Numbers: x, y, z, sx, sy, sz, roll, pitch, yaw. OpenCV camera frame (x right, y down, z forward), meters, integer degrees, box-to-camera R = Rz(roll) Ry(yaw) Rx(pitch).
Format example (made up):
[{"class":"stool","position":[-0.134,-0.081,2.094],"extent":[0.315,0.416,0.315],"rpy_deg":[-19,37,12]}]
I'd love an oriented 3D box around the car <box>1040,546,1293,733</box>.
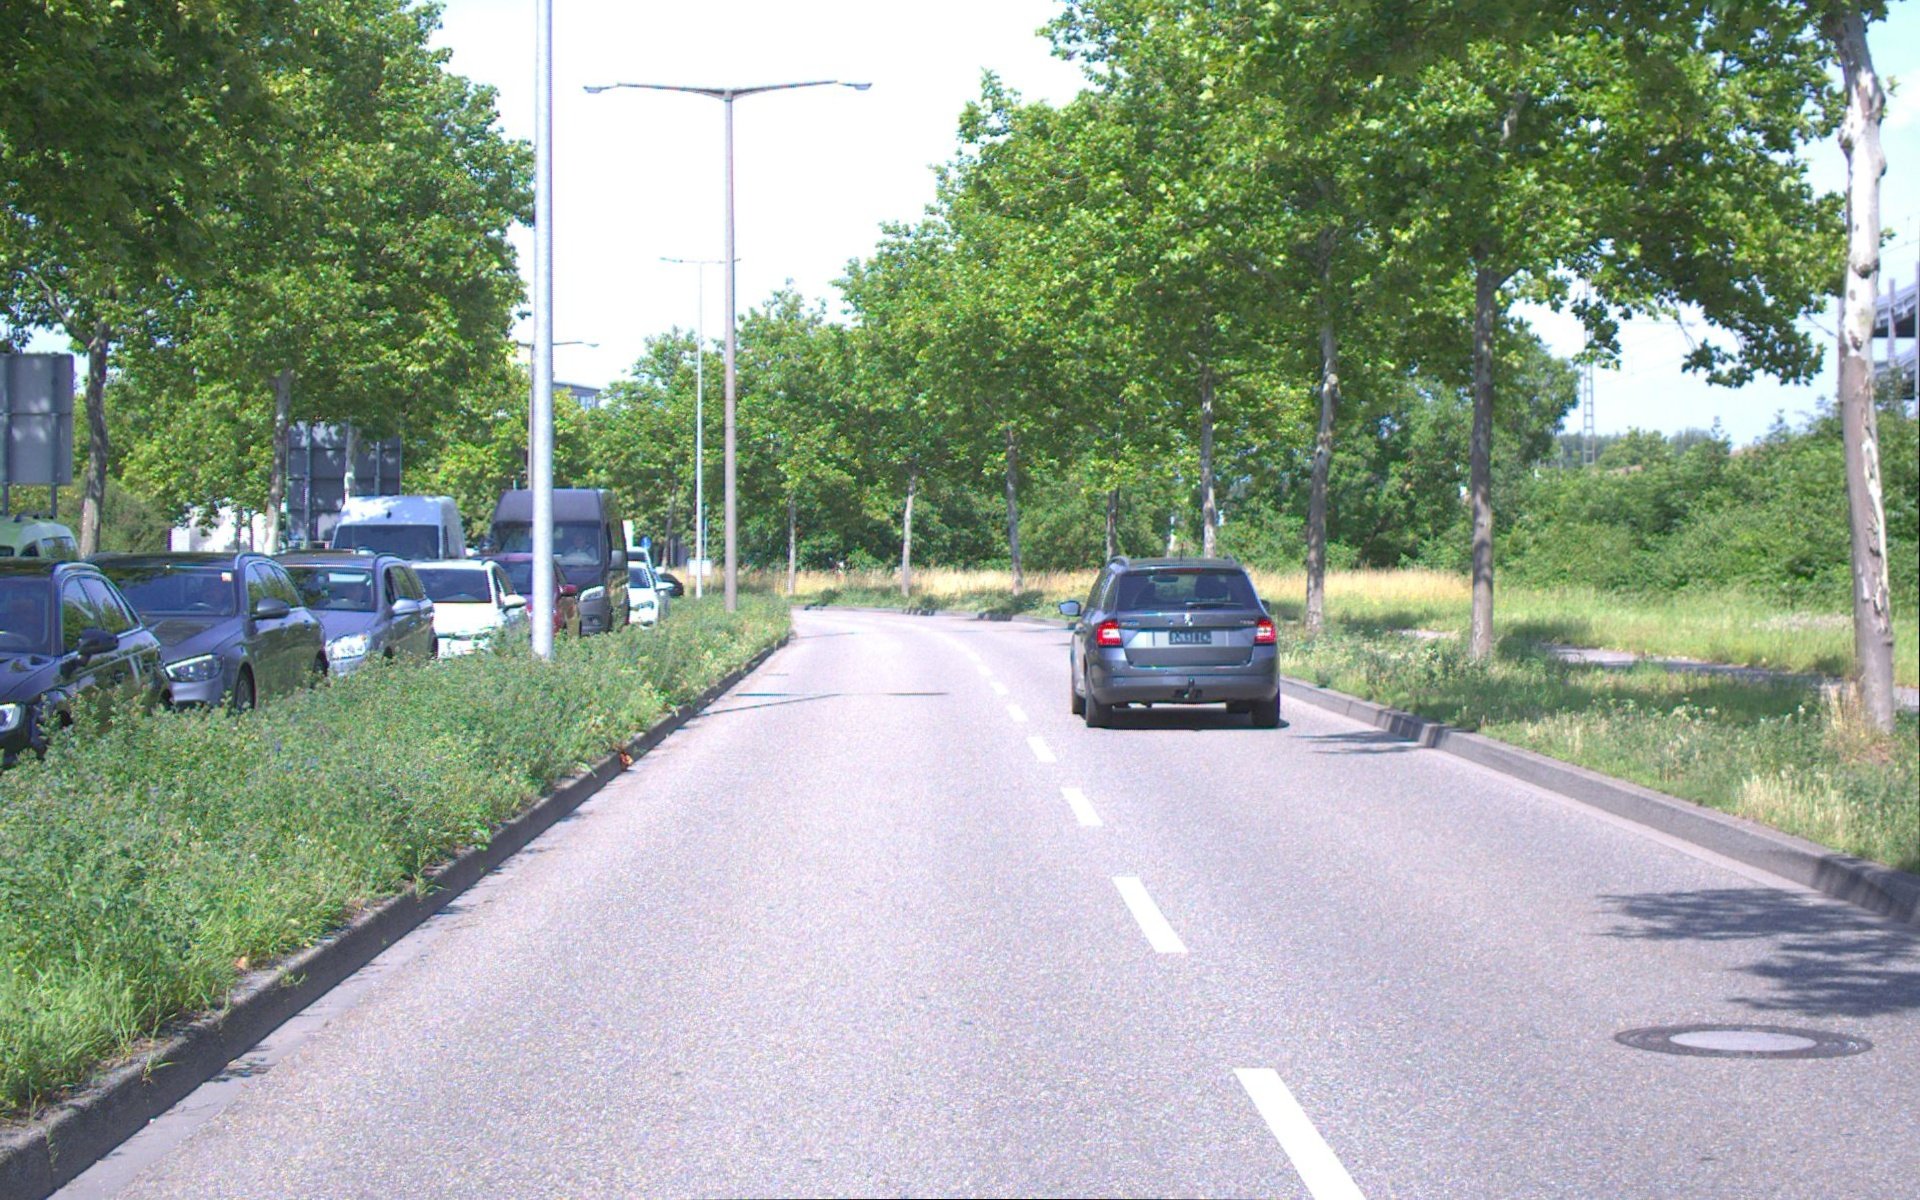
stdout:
[{"class":"car","position":[1.756,0.293,30.395],"extent":[1.674,1.448,4.036],"rpy_deg":[3,1,-4]}]

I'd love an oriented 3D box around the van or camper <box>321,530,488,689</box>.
[{"class":"van or camper","position":[-9.437,0.111,58.829],"extent":[2.015,2.579,5.517],"rpy_deg":[0,1,-1]}]

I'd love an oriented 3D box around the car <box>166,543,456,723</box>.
[{"class":"car","position":[-5.883,0.240,31.688],"extent":[1.813,1.525,4.642],"rpy_deg":[0,1,0]}]

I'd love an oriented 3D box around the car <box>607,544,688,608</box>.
[{"class":"car","position":[-7.685,-0.602,84.822],"extent":[1.689,1.525,3.815],"rpy_deg":[0,1,-1]}]

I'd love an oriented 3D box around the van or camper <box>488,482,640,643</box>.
[{"class":"van or camper","position":[-6.085,-0.560,53.336],"extent":[1.938,2.360,5.399],"rpy_deg":[0,0,-2]}]

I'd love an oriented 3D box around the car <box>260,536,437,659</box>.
[{"class":"car","position":[-9.114,-0.070,51.543],"extent":[1.993,1.750,4.000],"rpy_deg":[0,1,-1]}]

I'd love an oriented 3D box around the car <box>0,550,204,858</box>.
[{"class":"car","position":[-5.435,0.470,18.625],"extent":[1.823,1.460,4.451],"rpy_deg":[0,1,-2]}]

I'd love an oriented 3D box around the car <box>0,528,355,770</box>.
[{"class":"car","position":[-5.801,0.284,25.362],"extent":[1.847,1.602,5.008],"rpy_deg":[0,1,-1]}]

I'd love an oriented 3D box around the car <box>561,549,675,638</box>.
[{"class":"car","position":[-6.022,-0.120,60.841],"extent":[1.689,1.525,3.815],"rpy_deg":[0,0,-1]}]

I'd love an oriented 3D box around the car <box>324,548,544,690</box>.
[{"class":"car","position":[-5.702,0.165,37.764],"extent":[1.783,1.454,4.472],"rpy_deg":[0,1,-1]}]

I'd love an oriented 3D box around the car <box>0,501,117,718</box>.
[{"class":"car","position":[-9.016,0.065,31.374],"extent":[1.689,1.852,4.036],"rpy_deg":[0,0,-1]}]

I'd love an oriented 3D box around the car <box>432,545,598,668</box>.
[{"class":"car","position":[-5.673,0.048,44.184],"extent":[1.689,1.505,3.815],"rpy_deg":[0,1,-1]}]
